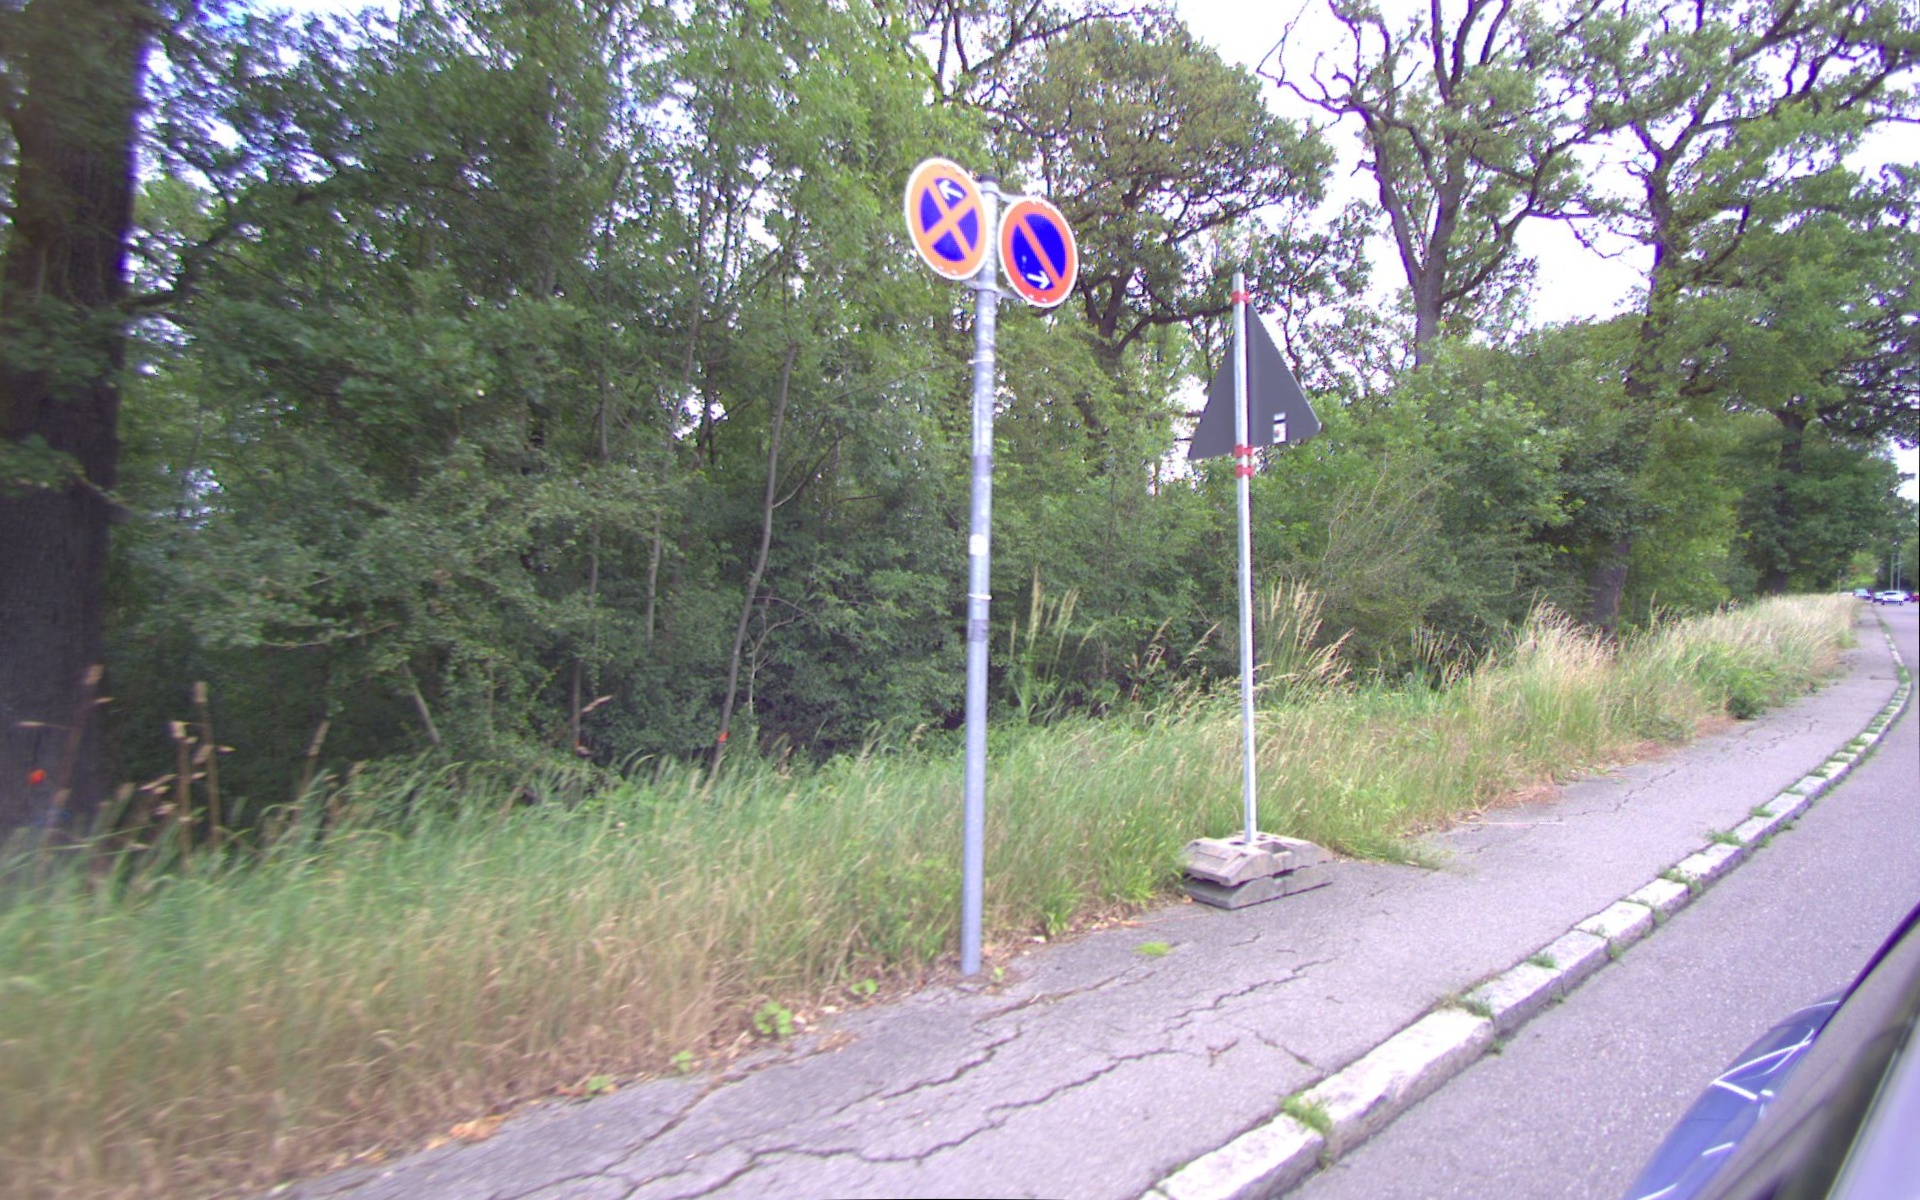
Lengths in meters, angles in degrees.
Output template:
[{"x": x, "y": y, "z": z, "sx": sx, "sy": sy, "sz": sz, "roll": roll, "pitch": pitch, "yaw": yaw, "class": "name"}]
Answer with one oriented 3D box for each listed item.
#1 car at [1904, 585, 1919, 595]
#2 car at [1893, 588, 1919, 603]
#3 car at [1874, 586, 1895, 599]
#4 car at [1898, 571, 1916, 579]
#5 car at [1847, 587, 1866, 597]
[{"x": 143.992, "y": -1.528, "z": 152.730, "sx": 1.755, "sy": 1.468, "sz": 3.992, "roll": 1, "pitch": 1, "yaw": 36, "class": "car"}, {"x": 109.102, "y": -0.537, "z": 116.623, "sx": 1.990, "sy": 1.709, "sz": 4.645, "roll": 1, "pitch": 1, "yaw": 38, "class": "car"}, {"x": 122.541, "y": -1.030, "z": 134.175, "sx": 1.992, "sy": 1.709, "sz": 4.639, "roll": 1, "pitch": 1, "yaw": 42, "class": "car"}, {"x": 169.060, "y": -4.454, "z": 180.697, "sx": 1.755, "sy": 1.468, "sz": 3.992, "roll": 1, "pitch": 1, "yaw": 36, "class": "car"}, {"x": 169.843, "y": -1.532, "z": 191.756, "sx": 1.985, "sy": 1.709, "sz": 4.657, "roll": 1, "pitch": 1, "yaw": 32, "class": "car"}]
